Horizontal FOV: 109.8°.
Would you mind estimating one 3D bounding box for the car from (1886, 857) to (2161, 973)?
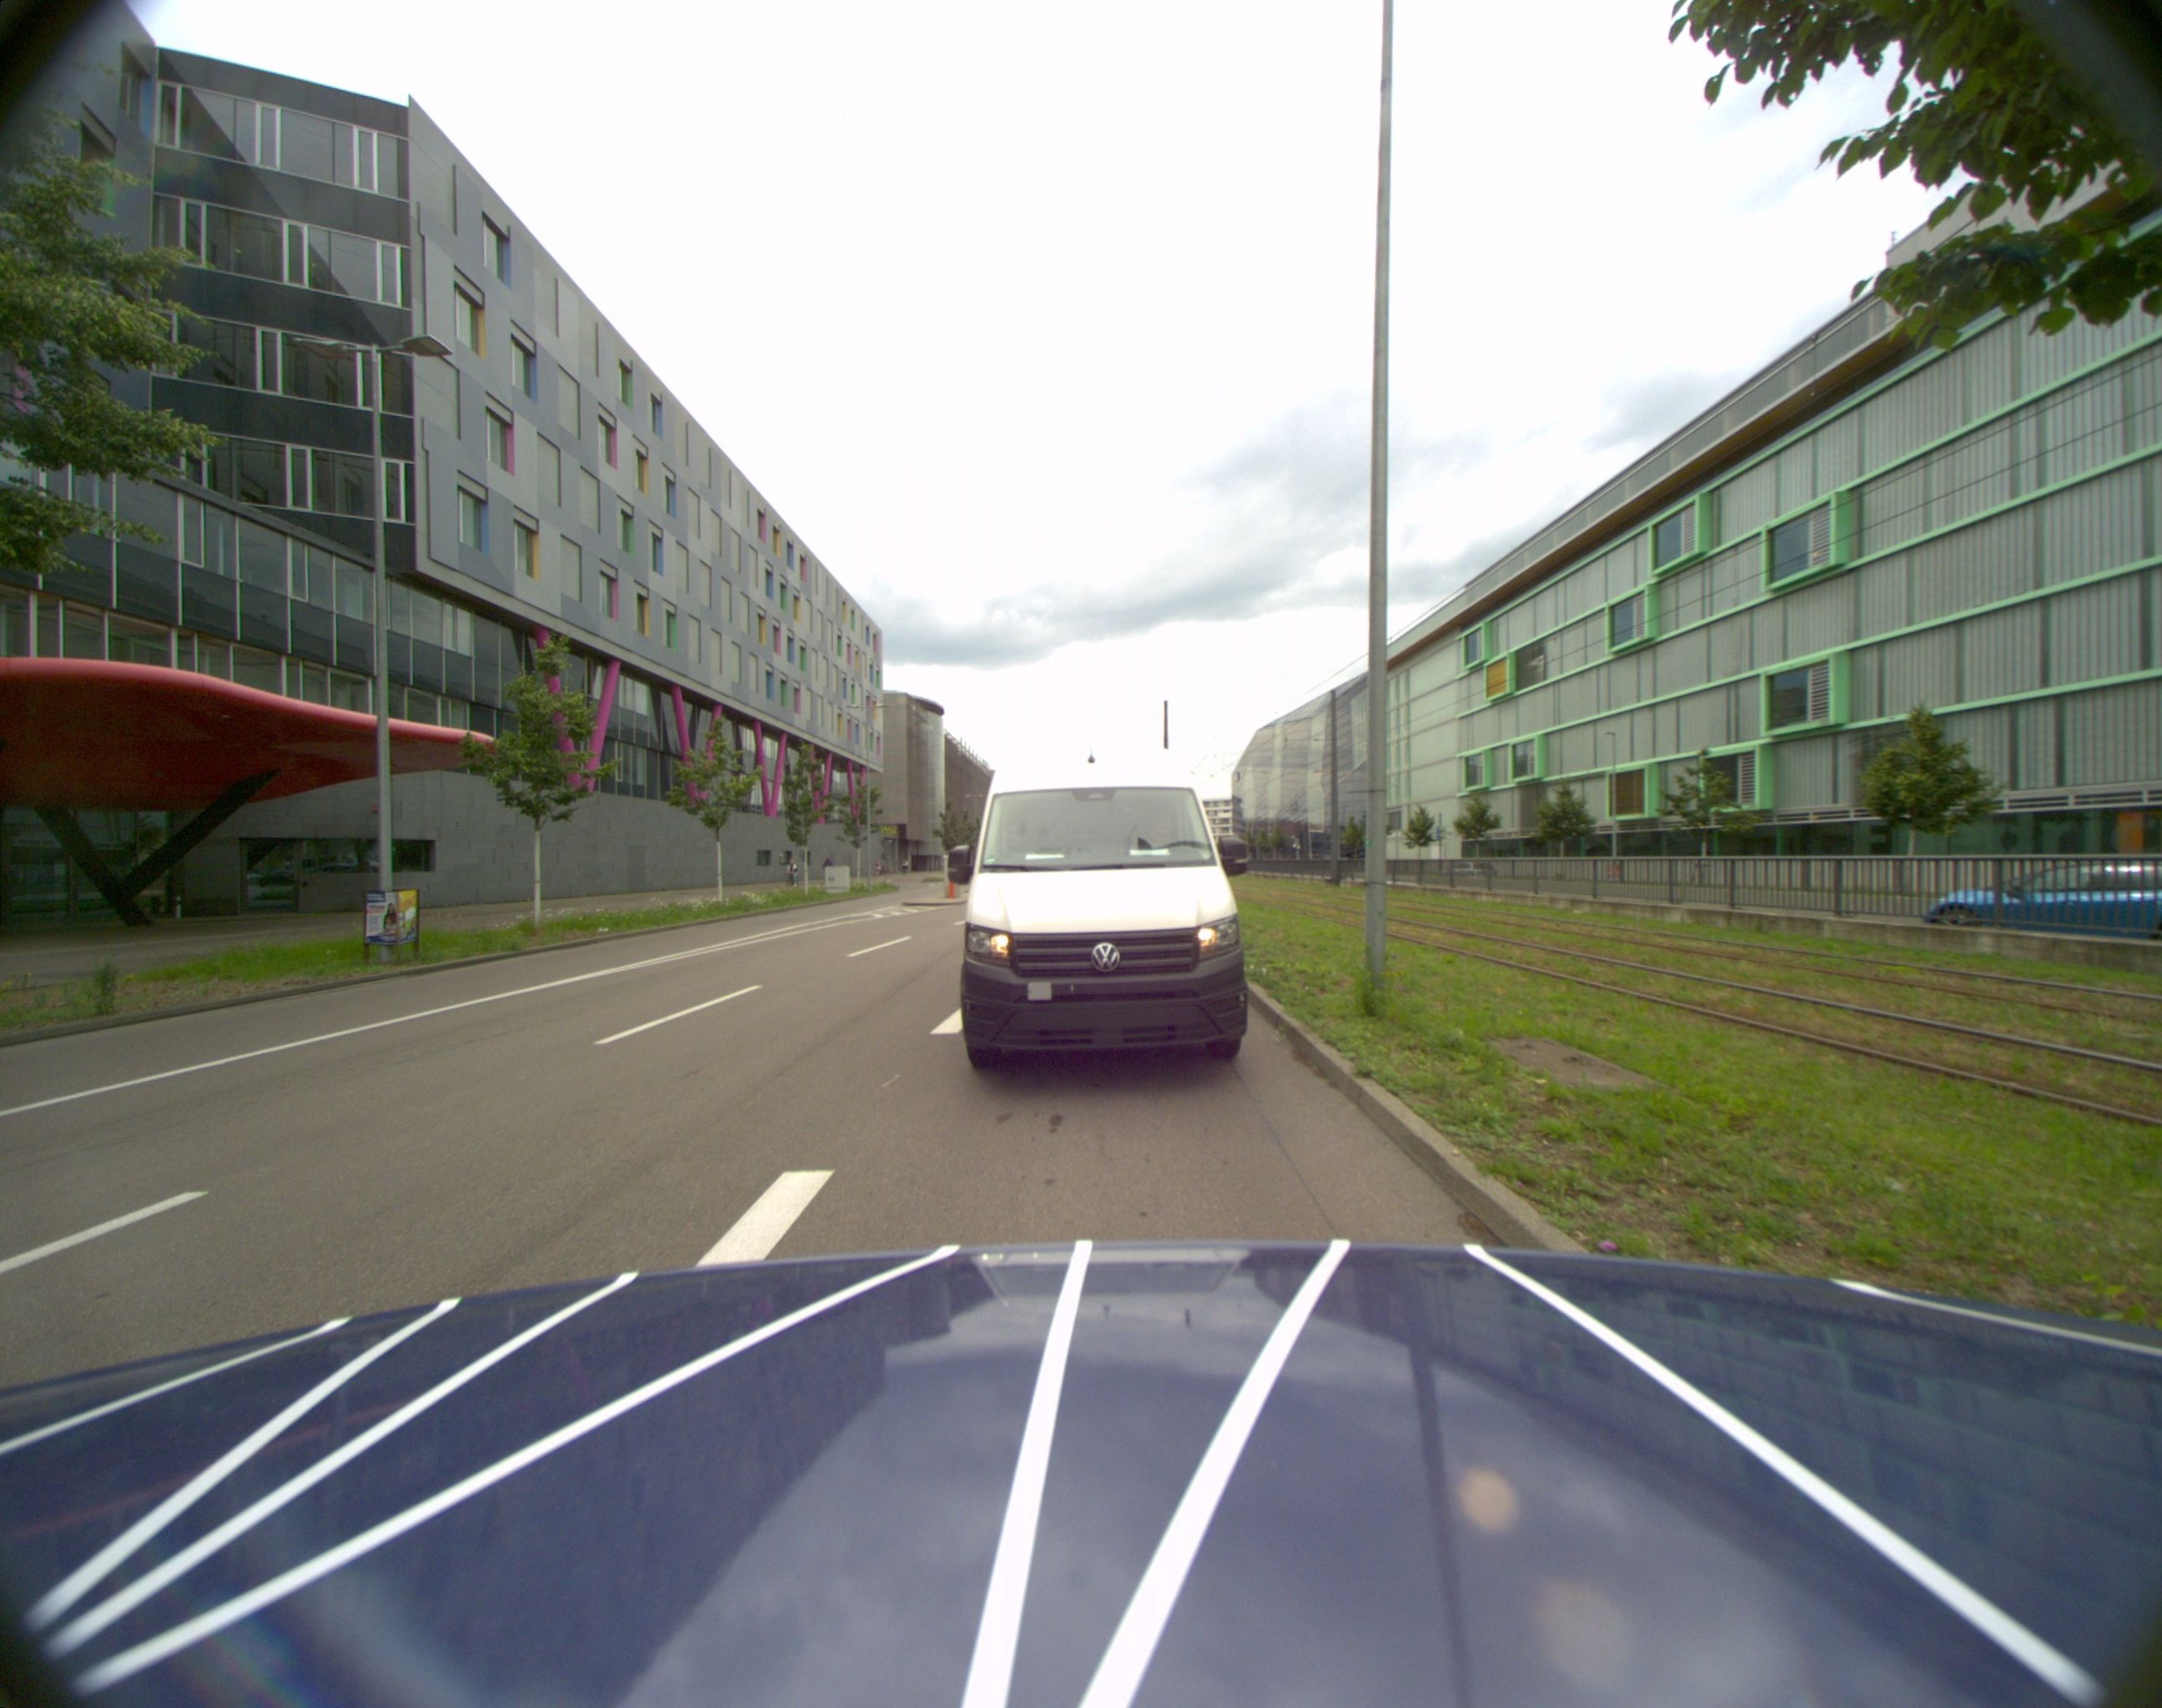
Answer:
[{"bbox_3d":[16.021,0.851,11.806,1.969,1.579,4.688,-1,0,-2],"label":"car"}]

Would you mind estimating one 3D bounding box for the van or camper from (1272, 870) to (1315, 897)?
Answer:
[{"bbox_3d":[16.840,2.301,60.386,1.894,1.889,5.124,0,0,-1],"label":"van or camper"}]

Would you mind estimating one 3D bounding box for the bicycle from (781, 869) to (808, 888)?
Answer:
[{"bbox_3d":[-17.657,1.489,46.890,0.801,1.151,2.345,-2,-1,0],"label":"bicycle"}]

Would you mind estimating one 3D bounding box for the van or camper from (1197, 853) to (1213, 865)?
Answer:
[{"bbox_3d":[24.142,1.004,148.525,2.178,2.273,6.507,-2,0,1],"label":"van or camper"}]

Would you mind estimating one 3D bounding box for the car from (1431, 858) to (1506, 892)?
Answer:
[{"bbox_3d":[23.972,1.246,47.272,1.998,2.002,5.295,-1,0,1],"label":"car"}]

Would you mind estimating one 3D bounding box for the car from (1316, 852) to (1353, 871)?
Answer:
[{"bbox_3d":[24.845,0.734,74.674,1.998,1.813,4.968,-1,0,1],"label":"car"}]

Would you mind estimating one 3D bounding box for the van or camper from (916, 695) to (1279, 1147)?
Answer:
[{"bbox_3d":[0.098,0.393,6.899,2.043,2.572,5.041,-1,0,0],"label":"van or camper"}]

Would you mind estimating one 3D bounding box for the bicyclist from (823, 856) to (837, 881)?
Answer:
[{"bbox_3d":[-18.520,1.065,55.971,0.784,1.790,0.705,-2,-4,0],"label":"bicyclist"}]

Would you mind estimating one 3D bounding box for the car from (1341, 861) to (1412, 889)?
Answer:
[{"bbox_3d":[16.186,1.104,41.930,1.733,1.437,4.921,1,-1,-4],"label":"car"}]

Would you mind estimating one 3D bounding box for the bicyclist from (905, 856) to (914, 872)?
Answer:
[{"bbox_3d":[-19.044,1.072,84.439,0.772,1.776,0.974,0,0,-3],"label":"bicyclist"}]

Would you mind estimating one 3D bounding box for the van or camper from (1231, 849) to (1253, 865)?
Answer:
[{"bbox_3d":[24.246,0.409,114.505,2.178,2.273,5.359,0,0,1],"label":"van or camper"}]

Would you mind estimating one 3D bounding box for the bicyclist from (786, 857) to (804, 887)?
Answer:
[{"bbox_3d":[-17.668,1.104,46.896,0.784,1.792,0.705,-2,0,0],"label":"bicyclist"}]

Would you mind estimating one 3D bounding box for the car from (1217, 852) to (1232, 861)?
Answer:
[{"bbox_3d":[26.935,0.526,142.821,1.998,1.583,4.769,-1,-2,3],"label":"car"}]

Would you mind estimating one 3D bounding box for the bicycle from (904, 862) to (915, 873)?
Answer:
[{"bbox_3d":[-19.029,1.478,84.391,0.785,1.187,2.220,0,0,-3],"label":"bicycle"}]

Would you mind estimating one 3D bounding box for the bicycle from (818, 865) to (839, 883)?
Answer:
[{"bbox_3d":[-18.579,1.498,55.921,0.801,1.150,2.346,-2,-4,0],"label":"bicycle"}]
